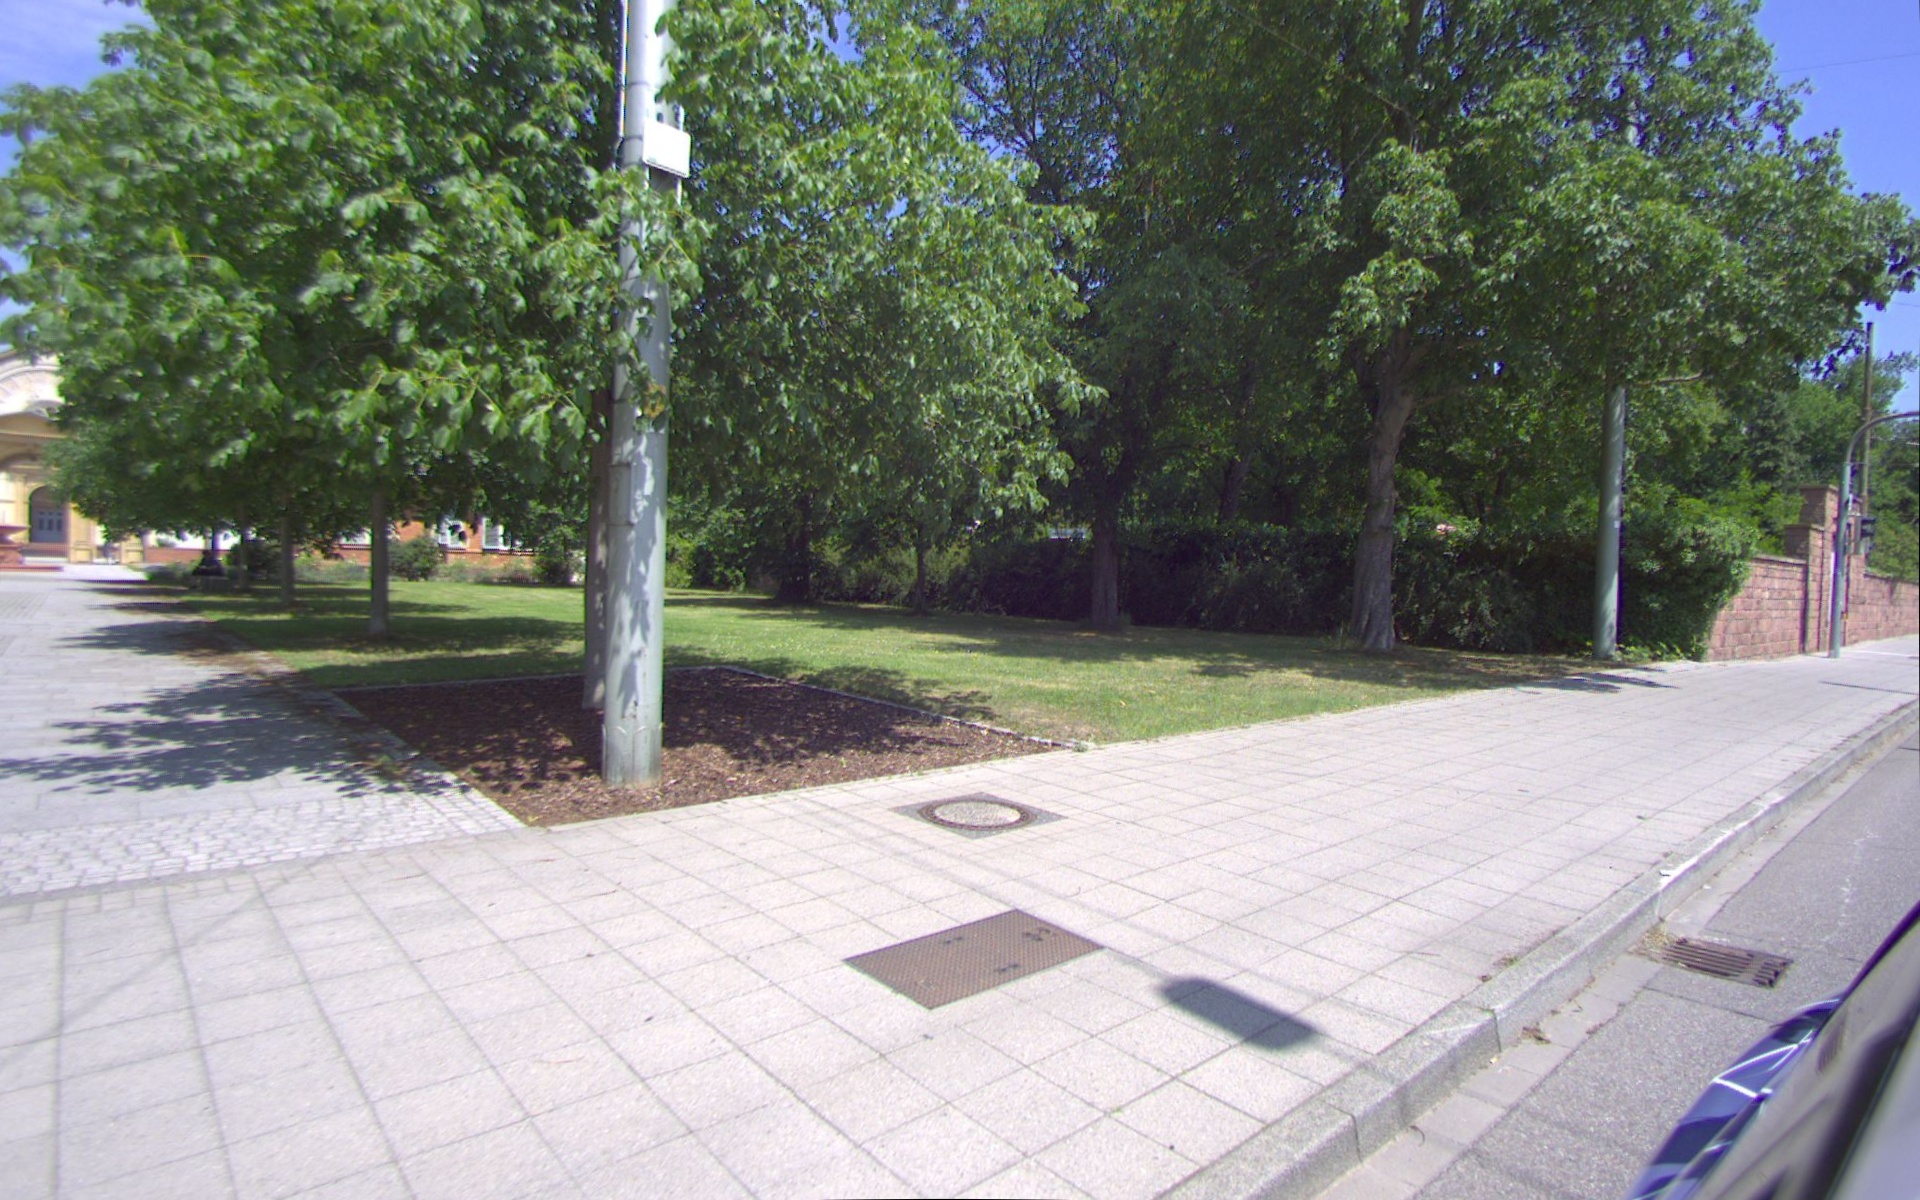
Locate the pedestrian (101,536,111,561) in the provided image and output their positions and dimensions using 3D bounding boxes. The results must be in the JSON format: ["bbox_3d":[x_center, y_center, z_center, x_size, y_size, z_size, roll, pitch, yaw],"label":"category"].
[{"bbox_3d":[-52.234,-3.131,61.900,0.409,1.506,0.503,1,2,-42],"label":"pedestrian"}]

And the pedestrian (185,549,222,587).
[{"bbox_3d":[-22.880,-0.971,30.607,0.816,1.128,0.795,1,2,-41],"label":"pedestrian"}]
